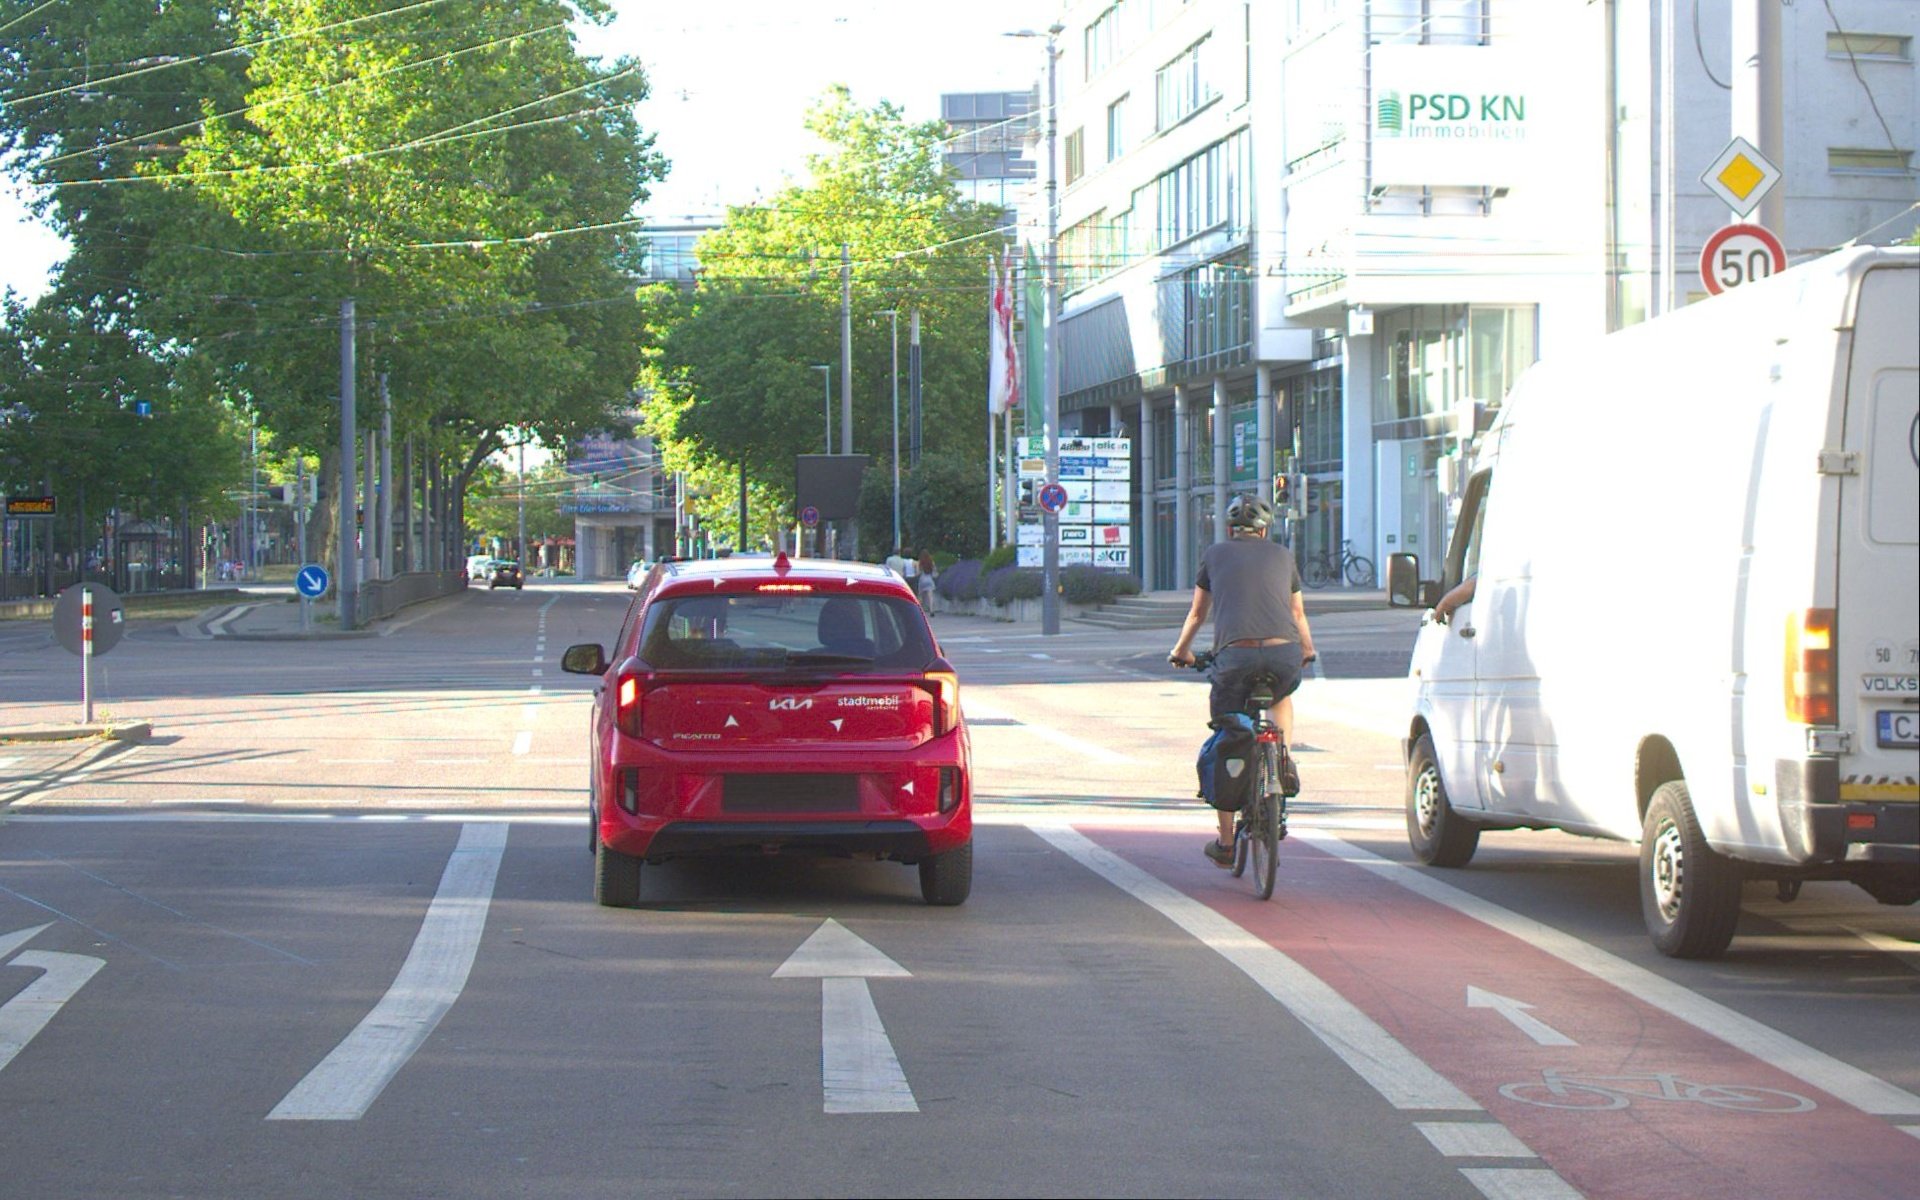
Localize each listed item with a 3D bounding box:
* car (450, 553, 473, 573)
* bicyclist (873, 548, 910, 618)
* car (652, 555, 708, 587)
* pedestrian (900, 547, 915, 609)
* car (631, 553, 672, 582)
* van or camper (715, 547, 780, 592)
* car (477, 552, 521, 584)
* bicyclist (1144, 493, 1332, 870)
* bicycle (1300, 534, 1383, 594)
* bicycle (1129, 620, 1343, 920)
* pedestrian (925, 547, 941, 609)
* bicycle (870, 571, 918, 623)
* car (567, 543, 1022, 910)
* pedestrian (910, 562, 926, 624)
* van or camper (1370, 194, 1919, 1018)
[{"bbox_3d":[-34.560,-2.566,238.406,1.574,1.302,3.340,-1,1,-8],"label":"car"},{"bbox_3d":[-1.606,-0.398,80.699,0.785,1.629,0.639,-1,1,-9],"label":"bicyclist"},{"bbox_3d":[-14.054,-1.468,172.371,2.478,1.523,4.433,-1,1,-9],"label":"car"},{"bbox_3d":[-1.313,-0.551,86.418,0.294,1.557,0.302,-1,1,-17],"label":"pedestrian"},{"bbox_3d":[-16.948,-1.785,188.786,1.884,1.523,4.433,-1,1,-10],"label":"car"},{"bbox_3d":[-8.750,-1.268,141.117,2.145,1.744,4.433,-1,1,-10],"label":"van or camper"},{"bbox_3d":[-24.629,-1.711,183.745,2.057,1.648,3.493,-1,1,-12],"label":"car"},{"bbox_3d":[1.255,0.356,15.656,0.743,1.663,0.745,1,1,-1],"label":"bicyclist"},{"bbox_3d":[9.380,-0.892,84.506,1.934,1.438,0.575,-1,1,-8],"label":"bicycle"},{"bbox_3d":[1.244,0.740,15.899,0.744,1.220,2.156,1,1,-1],"label":"bicycle"},{"bbox_3d":[-0.676,-0.550,86.830,0.294,1.557,0.314,-1,1,-25],"label":"pedestrian"},{"bbox_3d":[-1.560,-0.075,80.443,0.792,1.157,2.500,-1,1,-9],"label":"bicycle"},{"bbox_3d":[-0.883,0.483,15.951,1.839,1.484,3.717,-1,1,-7],"label":"car"},{"bbox_3d":[-1.060,-0.168,86.805,0.294,1.557,0.356,-1,1,-16],"label":"pedestrian"},{"bbox_3d":[3.627,0.004,14.672,2.268,2.724,6.348,2,1,-6],"label":"van or camper"}]
